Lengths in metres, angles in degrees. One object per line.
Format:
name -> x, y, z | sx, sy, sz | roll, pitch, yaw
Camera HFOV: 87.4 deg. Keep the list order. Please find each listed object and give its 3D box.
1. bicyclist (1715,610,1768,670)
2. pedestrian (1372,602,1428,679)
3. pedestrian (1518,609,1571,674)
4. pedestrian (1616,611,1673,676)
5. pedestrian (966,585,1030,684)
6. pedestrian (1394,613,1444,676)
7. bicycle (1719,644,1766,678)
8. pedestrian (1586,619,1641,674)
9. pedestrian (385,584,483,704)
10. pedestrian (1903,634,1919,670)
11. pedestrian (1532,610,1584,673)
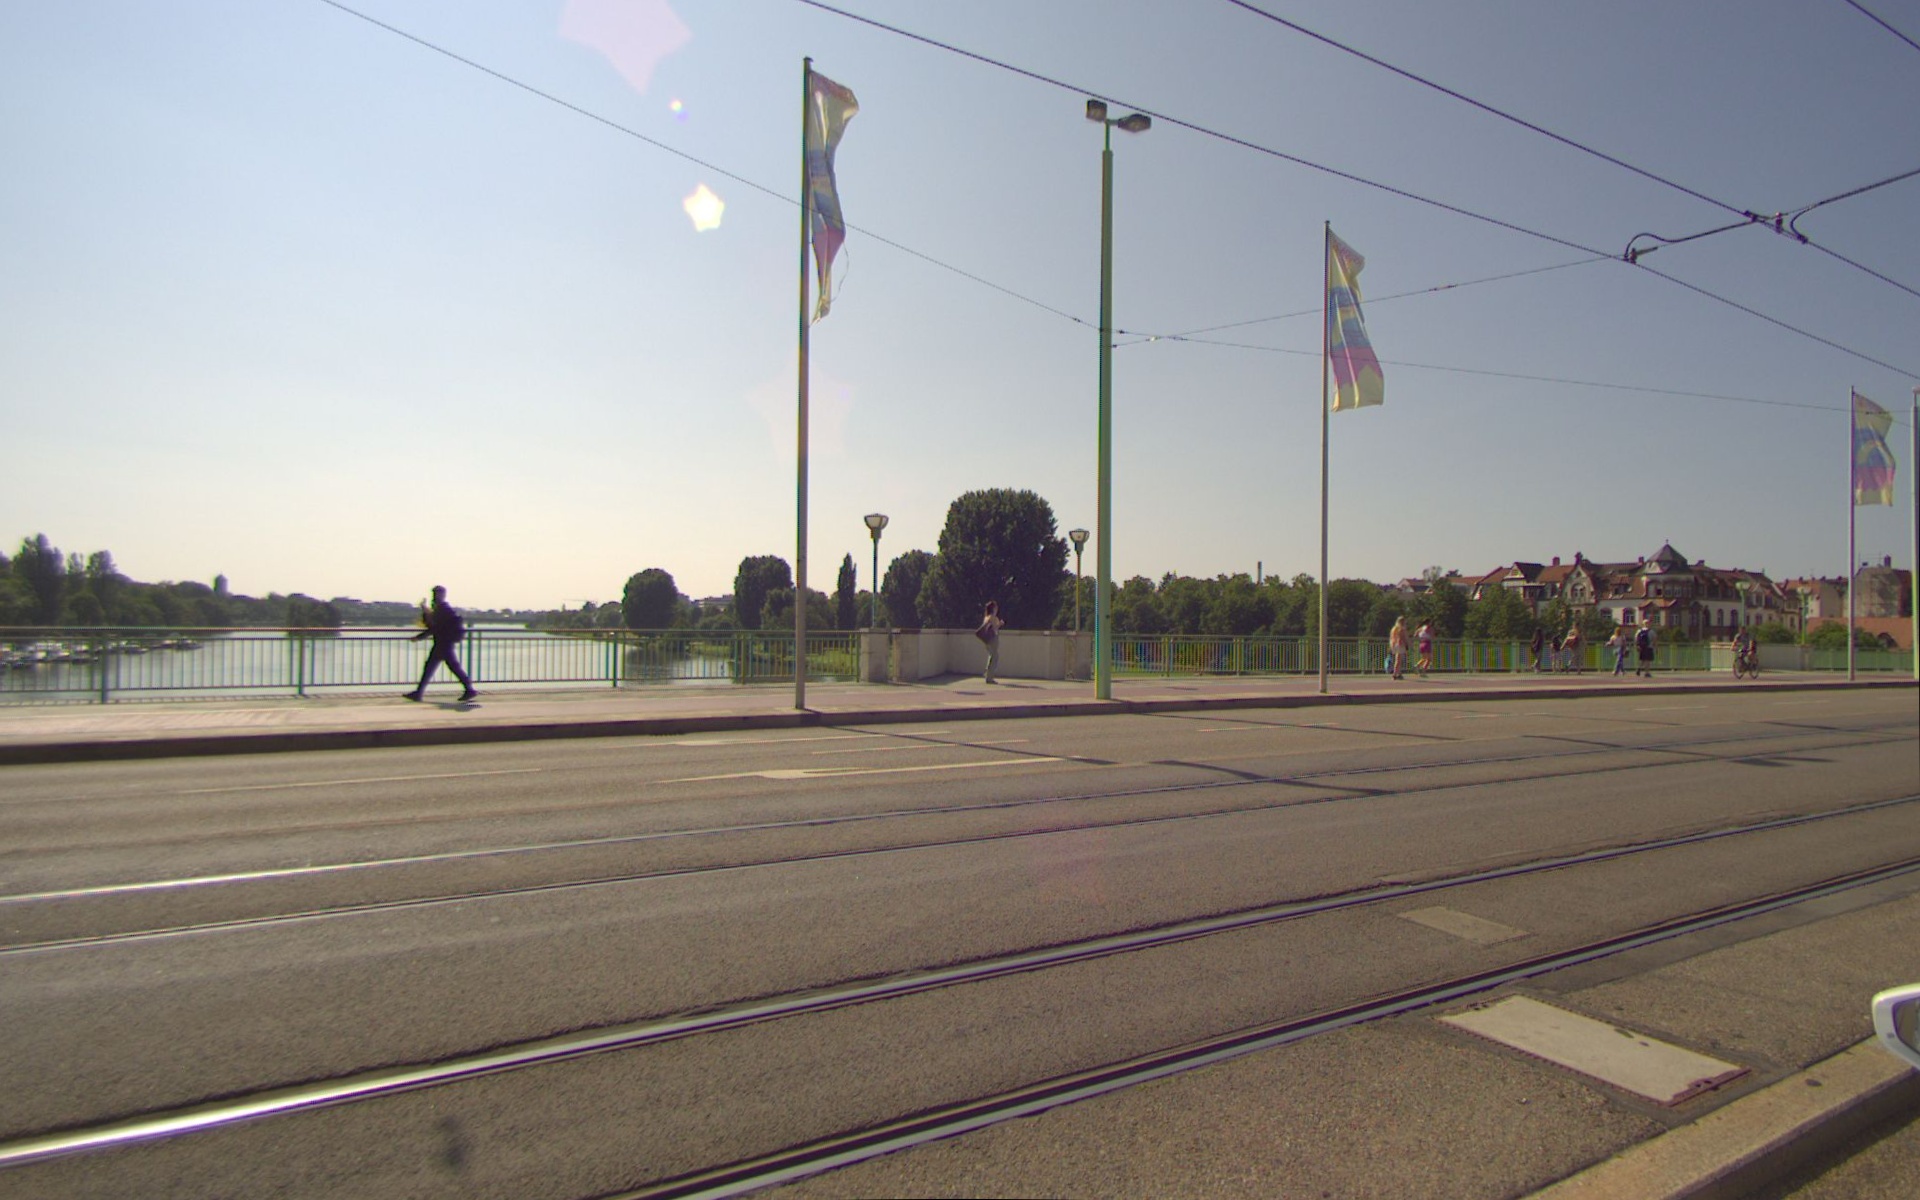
bicyclist -> 26.465, 1.341, 34.030 | 1.116, 1.987, 1.091 | 1, -1, -32
pedestrian -> 11.837, 1.072, 27.039 | 1.090, 2.040, 0.962 | 1, -1, -35
pedestrian -> 18.858, 1.326, 32.436 | 1.116, 2.040, 1.091 | 1, -1, -32
pedestrian -> 21.981, 1.386, 32.264 | 1.281, 2.040, 1.091 | 1, -1, -32
pedestrian -> 0.811, 0.731, 21.446 | 1.030, 2.040, 0.894 | 1, -1, -32
pedestrian -> 13.084, 1.269, 28.612 | 1.162, 1.745, 0.750 | 2, -1, -32
bicycle -> 26.518, 2.055, 34.025 | 2.089, 1.111, 0.585 | 1, -1, -32
pedestrian -> 21.595, 1.510, 33.177 | 1.281, 1.752, 1.091 | 1, -1, -32
pedestrian -> -8.206, 0.661, 15.659 | 1.281, 1.781, 1.091 | 1, -1, -32
pedestrian -> 45.776, 2.463, 47.862 | 1.015, 1.680, 0.895 | 2, -1, -27
pedestrian -> 19.732, 1.359, 33.151 | 1.116, 2.040, 1.091 | 1, -1, -32
